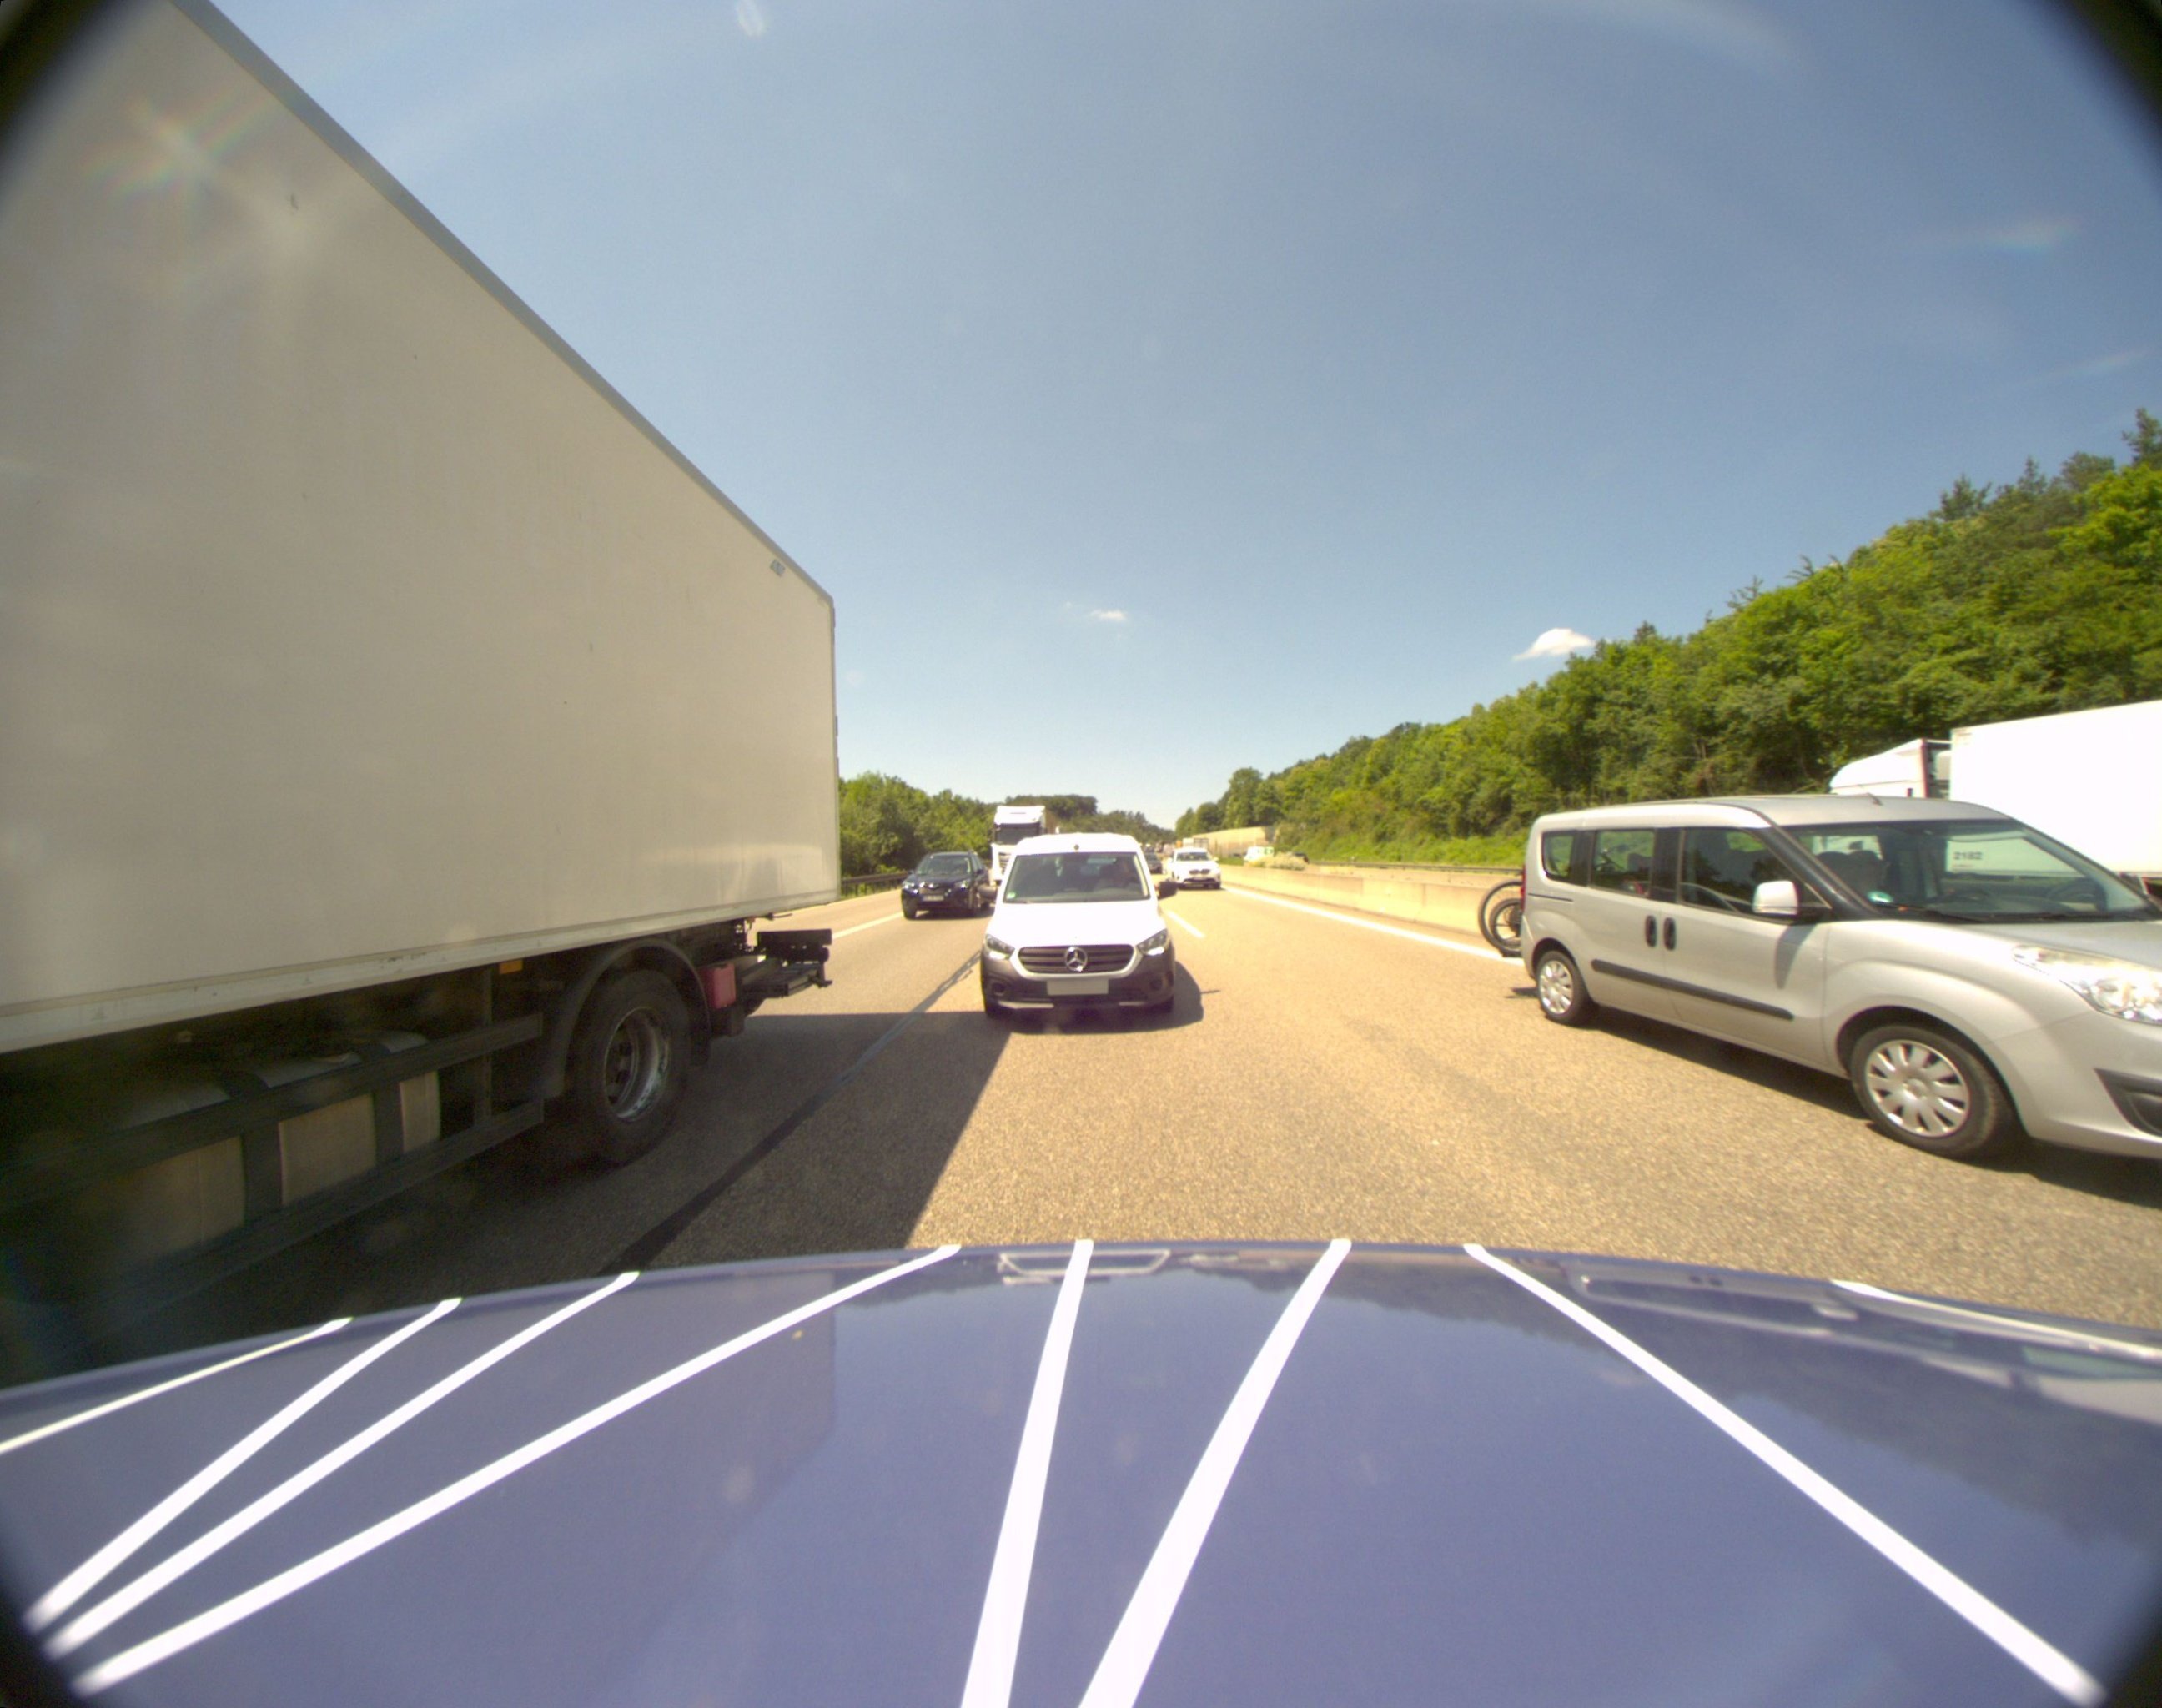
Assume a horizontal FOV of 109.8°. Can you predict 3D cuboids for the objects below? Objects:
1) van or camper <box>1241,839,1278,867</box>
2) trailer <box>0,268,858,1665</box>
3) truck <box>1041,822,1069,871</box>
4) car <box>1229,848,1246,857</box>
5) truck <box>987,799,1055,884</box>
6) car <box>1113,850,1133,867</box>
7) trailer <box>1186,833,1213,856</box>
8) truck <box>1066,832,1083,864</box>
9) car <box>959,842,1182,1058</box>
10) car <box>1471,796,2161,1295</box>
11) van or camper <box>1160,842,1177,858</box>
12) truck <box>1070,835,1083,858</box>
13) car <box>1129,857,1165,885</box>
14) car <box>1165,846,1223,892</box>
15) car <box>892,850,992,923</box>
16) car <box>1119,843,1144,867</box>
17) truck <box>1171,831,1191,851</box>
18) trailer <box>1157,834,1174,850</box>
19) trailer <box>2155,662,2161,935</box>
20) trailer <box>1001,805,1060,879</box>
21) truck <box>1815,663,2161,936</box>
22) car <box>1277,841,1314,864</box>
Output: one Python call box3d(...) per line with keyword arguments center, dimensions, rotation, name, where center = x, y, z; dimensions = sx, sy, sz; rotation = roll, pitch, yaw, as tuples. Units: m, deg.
box3d(center=(16.261, -0.116, 69.307), dimensions=(1.999, 2.372, 4.806), rotation=(-3, 2, -2), name="van or camper")
box3d(center=(-3.503, 0.235, 3.341), dimensions=(2.562, 2.882, 7.881), rotation=(-2, 0, 0), name="trailer")
box3d(center=(-2.494, -0.679, 76.204), dimensions=(2.394, 4.438, 10.868), rotation=(-2, 0, 0), name="truck")
box3d(center=(24.155, -0.195, 117.170), dimensions=(1.998, 1.326, 4.001), rotation=(-1, 0, 3), name="car")
box3d(center=(-3.038, -0.666, 40.869), dimensions=(2.766, 4.061, 7.333), rotation=(-2, 1, 1), name="truck")
box3d(center=(5.169, 0.552, 93.971), dimensions=(1.999, 2.002, 3.998), rotation=(-1, 1, -1), name="car")
box3d(center=(21.085, -1.754, 135.701), dimensions=(3.004, 3.850, 11.398), rotation=(-2, 1, 1), name="trailer")
box3d(center=(-0.904, -0.820, 111.192), dimensions=(2.187, 4.438, 10.868), rotation=(-2, 0, 0), name="truck")
box3d(center=(-0.049, 0.744, 8.333), dimensions=(1.756, 1.681, 4.363), rotation=(-2, 1, 1), name="car")
box3d(center=(4.743, 0.601, 4.979), dimensions=(1.857, 1.762, 4.917), rotation=(-2, 1, 1), name="car")
box3d(center=(17.047, -0.768, 147.771), dimensions=(2.400, 2.860, 6.710), rotation=(-2, 1, 0), name="van or camper")
box3d(center=(-0.901, -1.357, 141.047), dimensions=(2.187, 4.073, 10.868), rotation=(-2, 0, 0), name="truck")
box3d(center=(4.638, 1.148, 53.676), dimensions=(1.999, 1.747, 3.998), rotation=(-2, 1, -3), name="car")
box3d(center=(4.612, 0.577, 31.512), dimensions=(1.824, 1.696, 3.999), rotation=(-2, 1, 1), name="car")
box3d(center=(-3.628, 0.787, 20.715), dimensions=(1.999, 1.682, 4.609), rotation=(-1, 1, -2), name="car")
box3d(center=(4.407, 0.110, 67.119), dimensions=(1.998, 2.002, 4.000), rotation=(-1, 1, 1), name="car")
box3d(center=(24.468, -3.197, 186.611), dimensions=(3.099, 4.519, 14.097), rotation=(-2, 1, 1), name="truck")
box3d(center=(22.587, -3.212, 203.157), dimensions=(3.443, 4.171, 7.895), rotation=(-2, 1, 1), name="trailer")
box3d(center=(19.053, -0.837, 7.048), dimensions=(2.956, 4.456, 10.814), rotation=(-2, 1, 1), name="trailer")
box3d(center=(-2.950, -0.757, 47.614), dimensions=(2.766, 4.061, 11.615), rotation=(0, 1, 1), name="trailer")
box3d(center=(19.150, -0.975, 14.530), dimensions=(2.956, 4.456, 7.516), rotation=(-2, 1, 0), name="truck")
box3d(center=(20.445, -0.176, 72.494), dimensions=(2.119, 2.002, 4.476), rotation=(-2, 1, -2), name="car")
